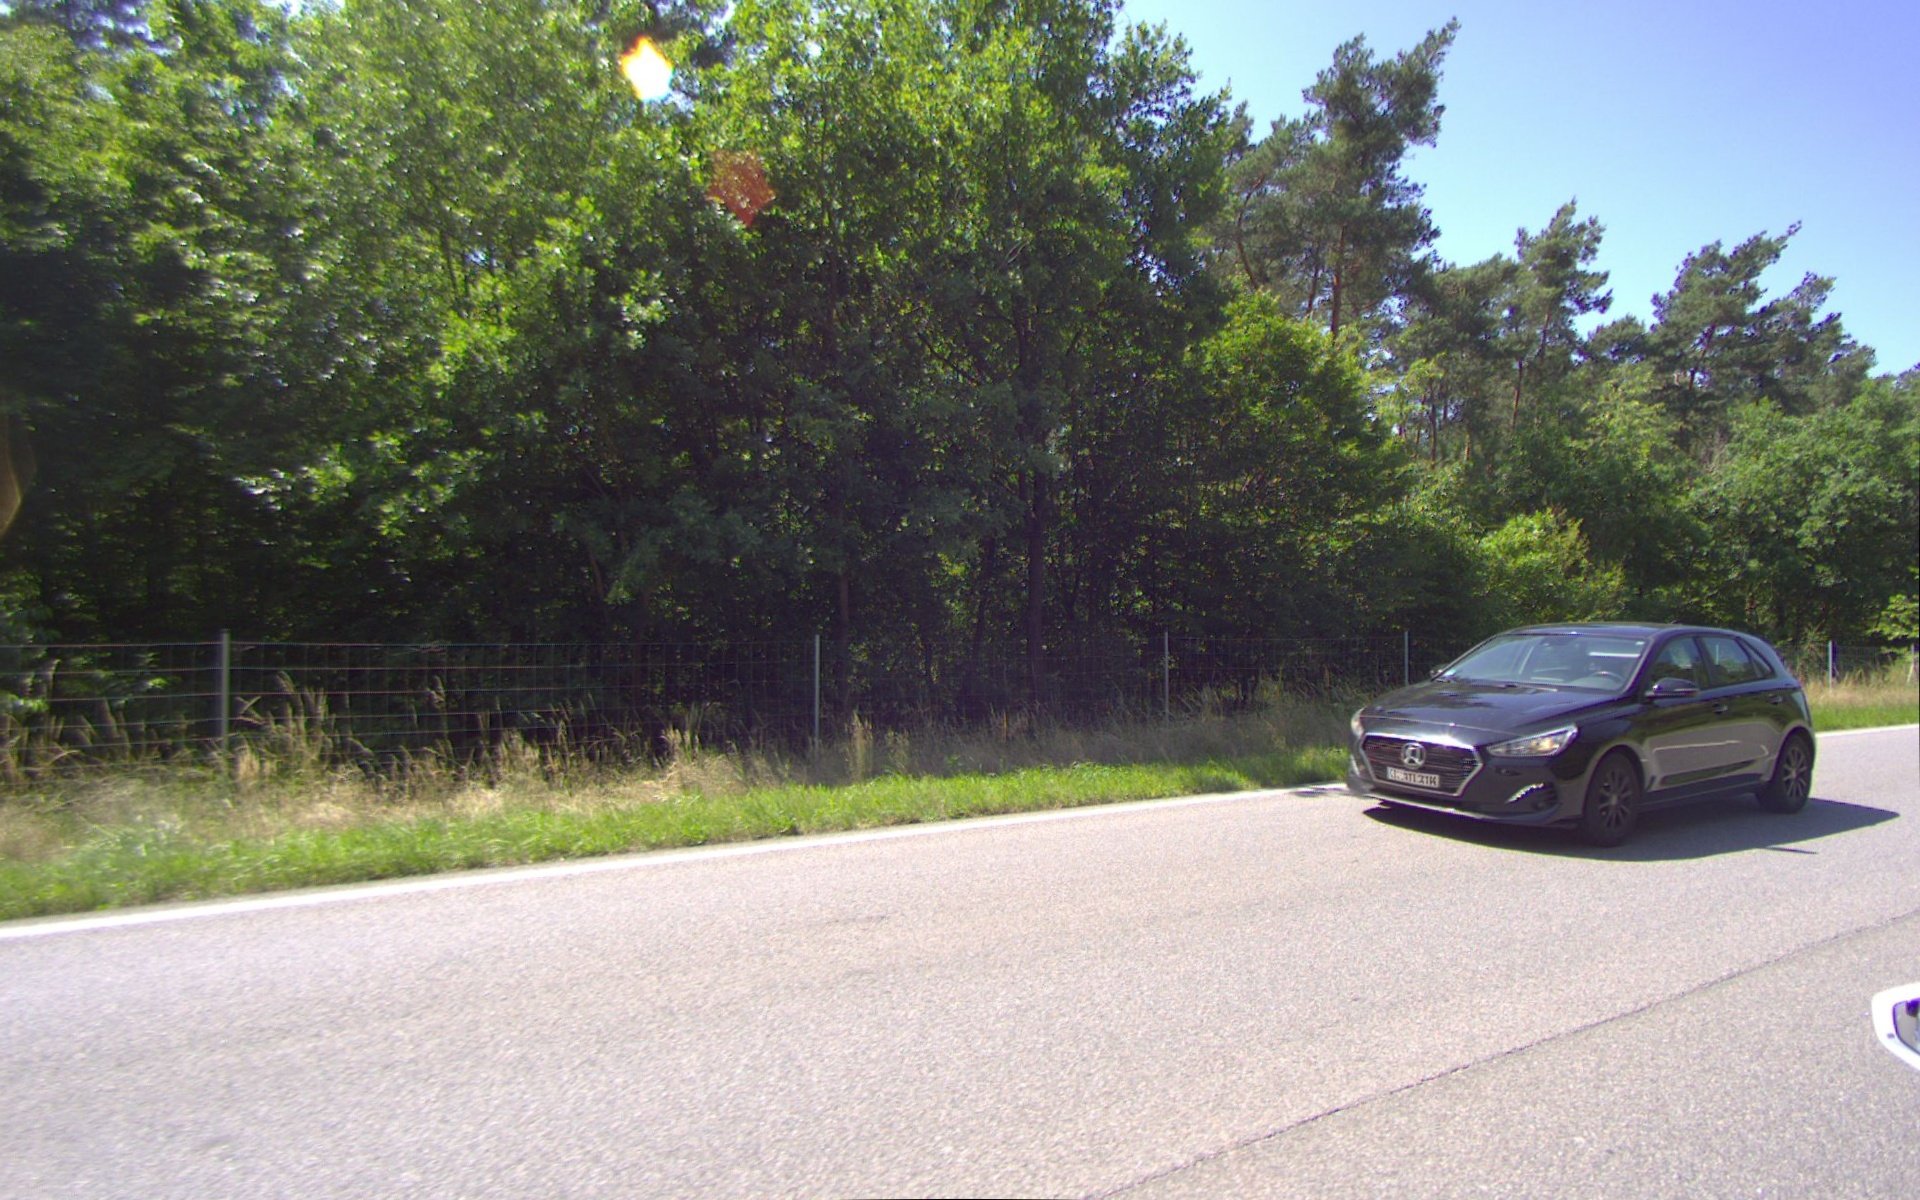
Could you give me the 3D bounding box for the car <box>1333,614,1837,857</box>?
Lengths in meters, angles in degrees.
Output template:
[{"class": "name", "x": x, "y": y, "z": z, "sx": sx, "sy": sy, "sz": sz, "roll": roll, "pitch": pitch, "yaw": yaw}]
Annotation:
[{"class": "car", "x": 4.997, "y": 0.881, "z": 7.919, "sx": 4.014, "sy": 1.474, "sz": 1.720, "roll": 1, "pitch": -1, "yaw": -30}]
